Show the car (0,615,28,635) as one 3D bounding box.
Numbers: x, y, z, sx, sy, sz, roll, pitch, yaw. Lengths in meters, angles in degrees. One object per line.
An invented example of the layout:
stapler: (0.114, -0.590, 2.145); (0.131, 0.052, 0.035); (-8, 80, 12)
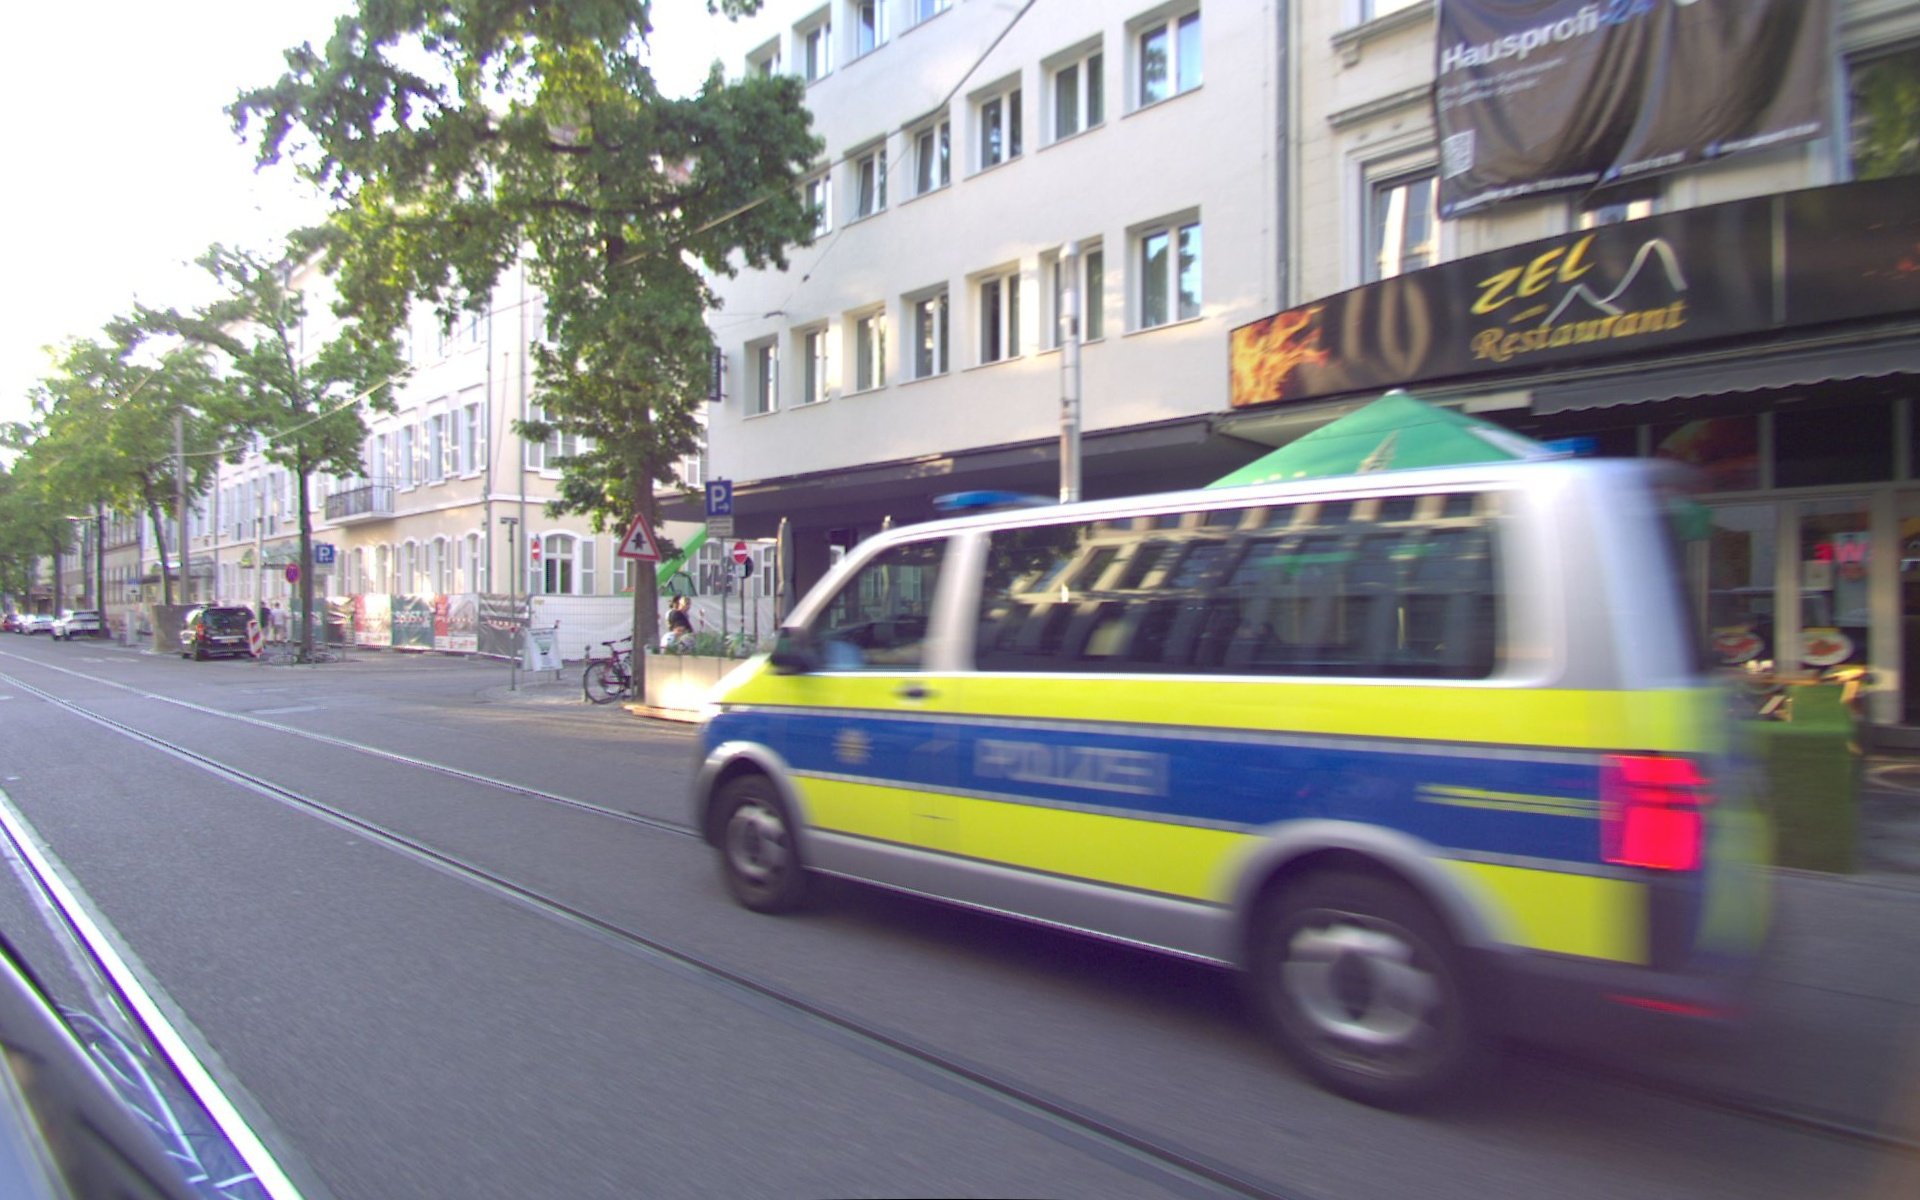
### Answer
car: (-77.617, 2.044, 82.613); (4.106, 1.588, 1.971); (-1, -1, 44)

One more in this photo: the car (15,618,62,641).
car: (-62.840, 2.012, 68.973); (4.104, 1.514, 1.972); (-1, -1, 42)

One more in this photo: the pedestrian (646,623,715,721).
pedestrian: (-4.175, 1.050, 15.122); (0.793, 1.387, 0.685); (0, 0, 44)

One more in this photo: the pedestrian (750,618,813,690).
pedestrian: (-3.491, 1.040, 19.802); (0.875, 1.330, 0.882); (0, 0, -45)

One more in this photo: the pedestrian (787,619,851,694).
pedestrian: (-2.652, 1.037, 19.015); (0.837, 1.330, 0.882); (0, 0, -44)

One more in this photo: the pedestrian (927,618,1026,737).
pedestrian: (0.194, 0.920, 12.459); (1.012, 1.372, 0.708); (0, 0, 44)

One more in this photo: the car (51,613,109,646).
car: (-49.172, 1.623, 56.516); (4.104, 1.751, 1.972); (-1, -1, 42)

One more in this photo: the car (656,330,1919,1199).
car: (0.864, 0.474, 4.397); (4.848, 1.991, 1.972); (-1, -1, 42)

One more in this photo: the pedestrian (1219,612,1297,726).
pedestrian: (3.811, 0.855, 12.952); (0.765, 1.388, 0.647); (0, 0, 43)

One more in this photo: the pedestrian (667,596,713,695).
pedestrian: (-4.874, 0.801, 18.305); (0.632, 1.754, 0.781); (0, 0, 0)

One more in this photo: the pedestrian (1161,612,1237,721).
pedestrian: (3.191, 0.864, 13.515); (0.765, 1.388, 0.647); (0, 0, 43)

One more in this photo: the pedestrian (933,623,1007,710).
pedestrian: (0.159, 1.051, 16.406); (0.837, 1.330, 0.882); (0, 0, -44)

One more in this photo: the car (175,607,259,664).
car: (-25.568, 1.178, 34.764); (1.747, 1.778, 3.880); (-3, 1, -44)

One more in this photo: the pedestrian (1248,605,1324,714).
pedestrian: (4.327, 0.766, 13.430); (0.765, 1.388, 0.647); (0, 0, 43)

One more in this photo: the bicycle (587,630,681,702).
bicycle: (-5.826, 1.150, 18.200); (0.773, 1.147, 1.858); (0, 0, 14)

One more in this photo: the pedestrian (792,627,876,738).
pedestrian: (-1.660, 1.059, 13.340); (0.872, 1.372, 0.708); (0, 0, 44)

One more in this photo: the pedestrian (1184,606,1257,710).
pedestrian: (3.614, 0.782, 14.050); (0.765, 1.388, 0.647); (0, 0, 43)

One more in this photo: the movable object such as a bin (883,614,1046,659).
movable object such as a bin: (0.340, 1.512, 42.605); (2.898, 1.677, 7.195); (0, -1, 40)

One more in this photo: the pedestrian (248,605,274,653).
pedestrian: (-28.149, 1.142, 40.739); (0.769, 1.899, 0.670); (0, 1, 43)

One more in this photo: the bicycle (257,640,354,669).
bicycle: (-19.188, 1.577, 29.696); (1.328, 0.711, 2.052); (-1, 0, 36)

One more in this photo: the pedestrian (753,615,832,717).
pedestrian: (-2.404, 0.914, 14.476); (0.925, 1.372, 0.708); (0, 0, 44)

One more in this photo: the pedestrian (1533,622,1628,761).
pedestrian: (6.640, 0.944, 10.833); (0.765, 1.388, 0.647); (0, 0, 43)

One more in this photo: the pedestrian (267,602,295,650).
pedestrian: (-27.740, 1.047, 41.355); (0.880, 1.899, 0.749); (0, 1, 43)

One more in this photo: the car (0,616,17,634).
car: (-82.151, 2.119, 86.536); (4.106, 1.561, 1.971); (-1, -1, 44)

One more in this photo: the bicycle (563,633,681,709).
bicycle: (-5.670, 1.162, 17.048); (0.626, 1.147, 1.842); (0, 0, 39)

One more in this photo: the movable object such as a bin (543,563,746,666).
movable object such as a bin: (-9.675, 0.465, 31.455); (2.642, 2.894, 5.491); (0, -1, 40)

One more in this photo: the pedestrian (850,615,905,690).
pedestrian: (-1.534, 0.961, 18.803); (0.615, 1.330, 0.842); (0, 0, -45)

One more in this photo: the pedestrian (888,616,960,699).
pedestrian: (-0.610, 0.955, 17.144); (0.875, 1.330, 0.882); (0, 0, -45)

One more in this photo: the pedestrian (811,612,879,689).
pedestrian: (-2.075, 0.890, 18.280); (0.875, 1.330, 0.882); (0, 0, -45)

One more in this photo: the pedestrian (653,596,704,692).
pedestrian: (-5.248, 0.799, 18.911); (0.635, 1.754, 0.779); (0, 0, 11)
